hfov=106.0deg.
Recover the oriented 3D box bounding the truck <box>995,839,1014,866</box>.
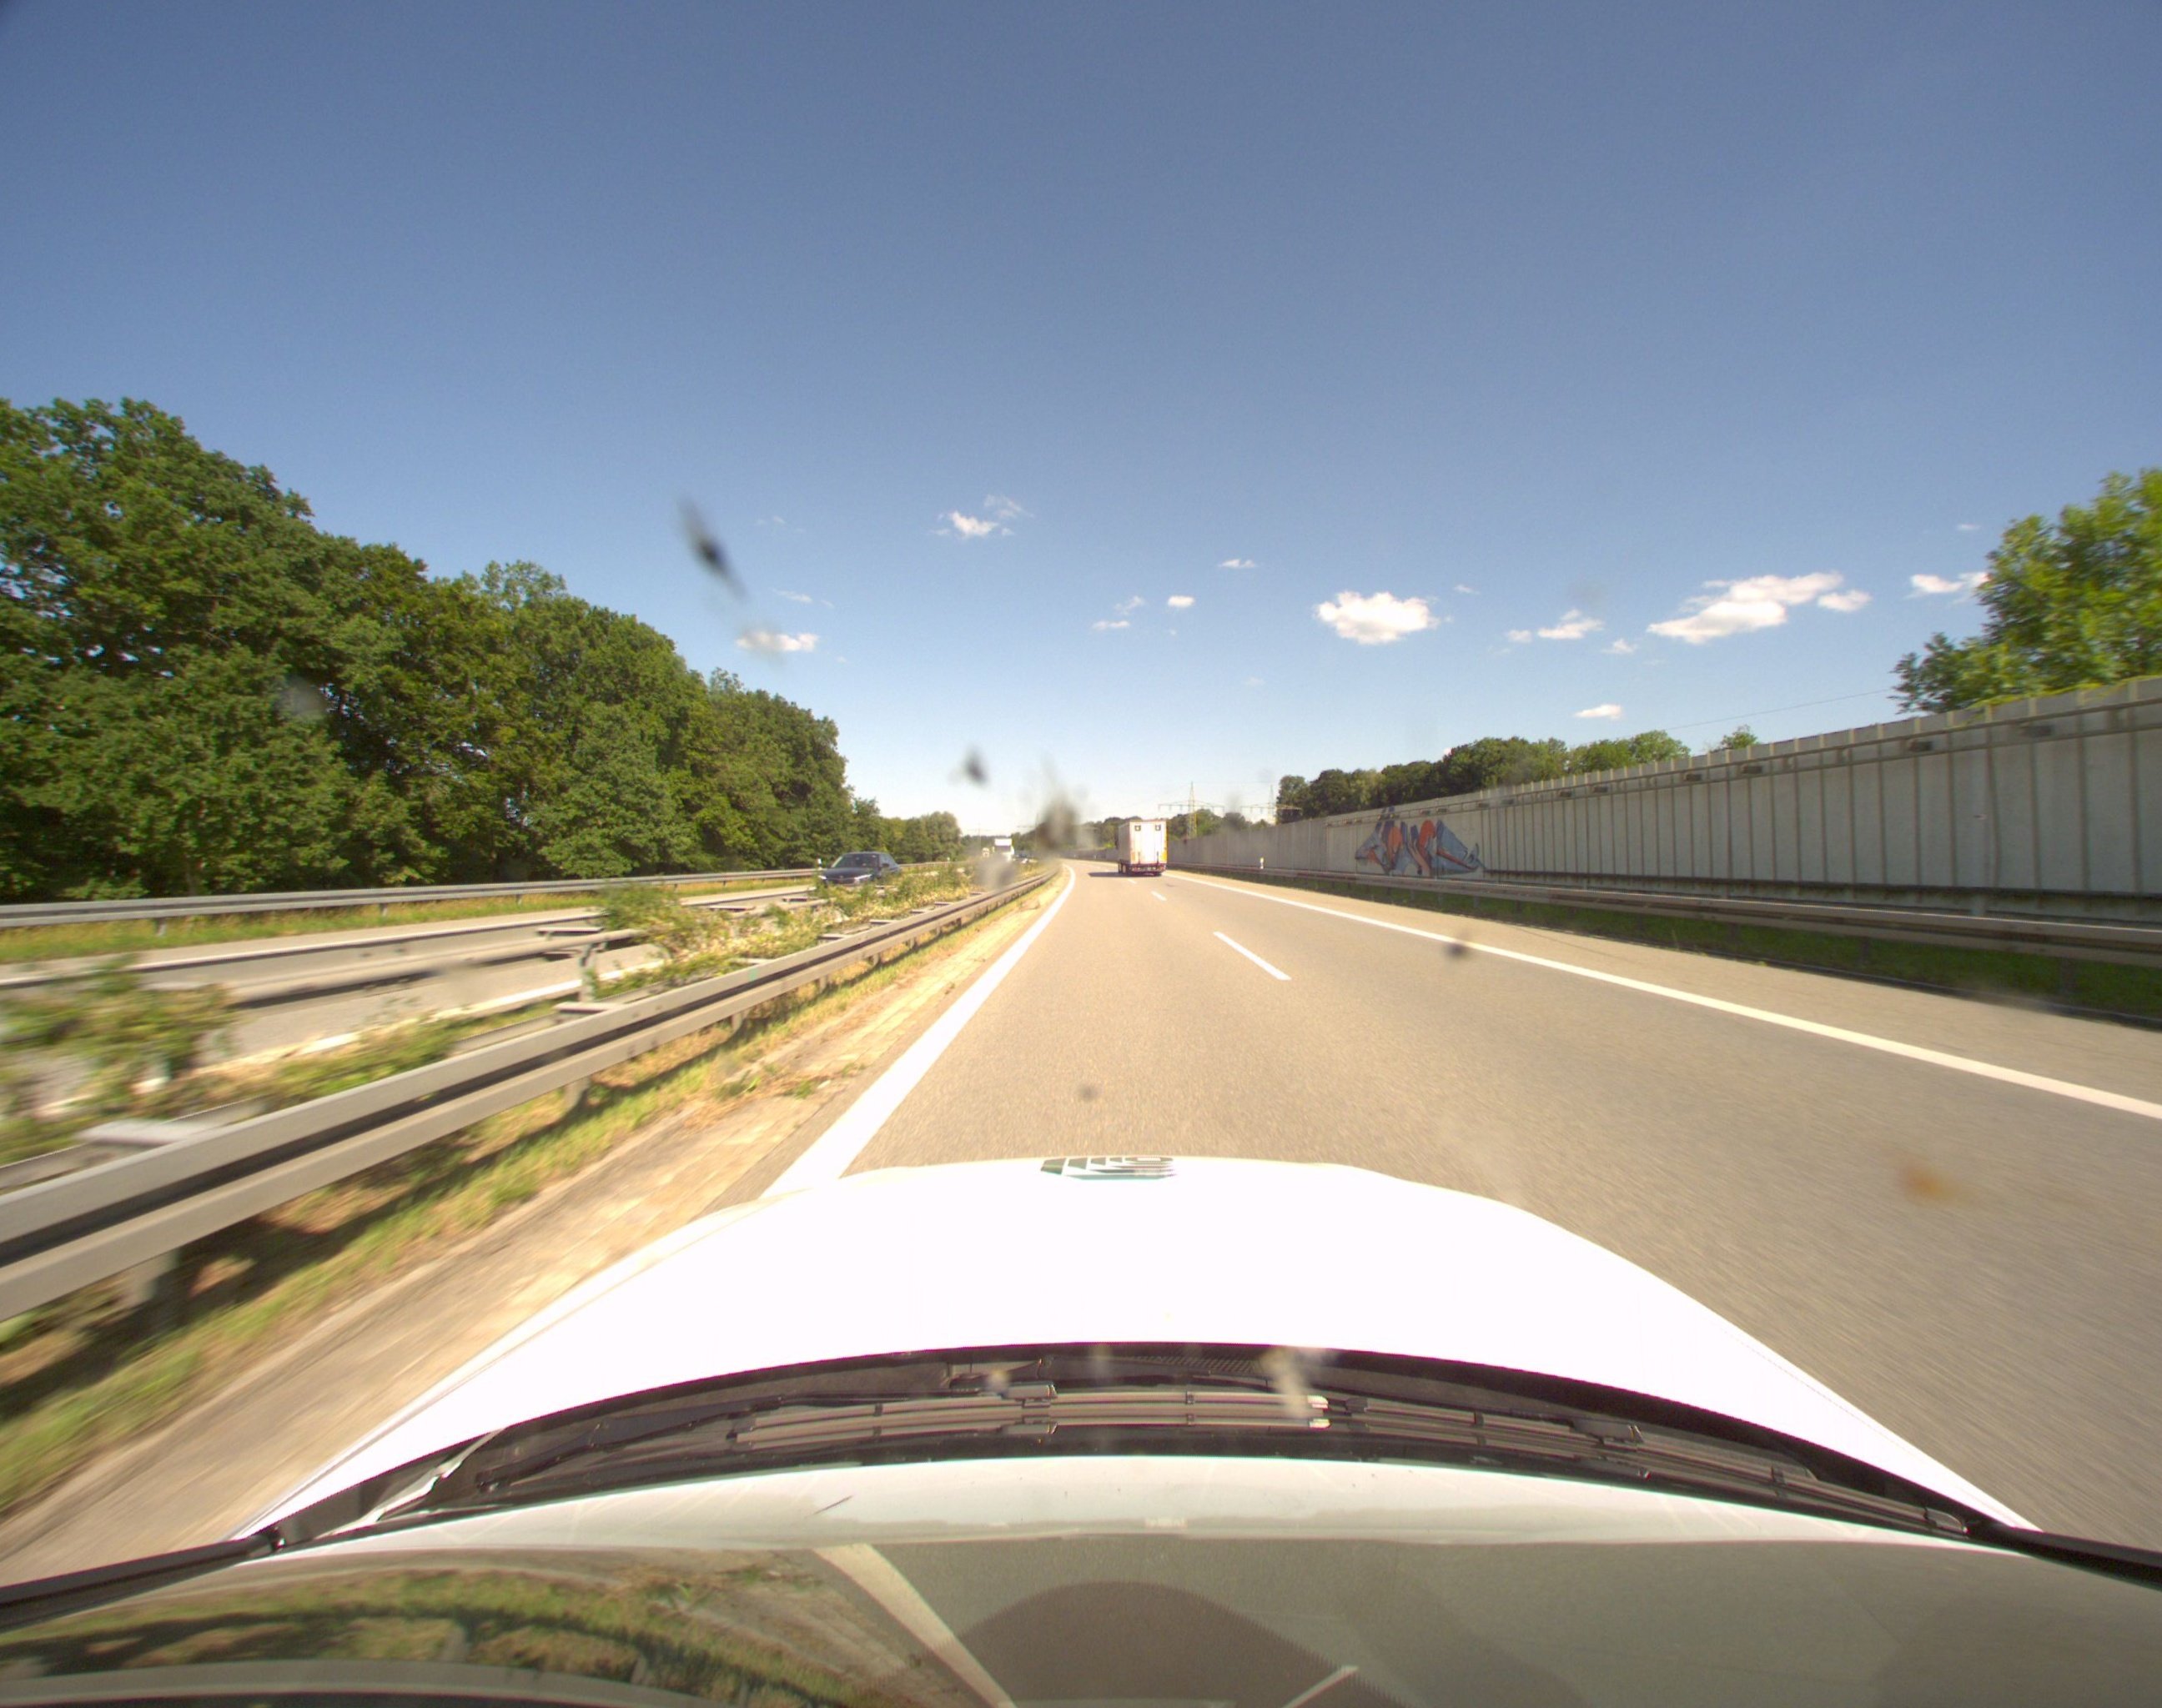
[{"bbox_3d":[-11.496,-0.183,122.974,2.619,3.839,6.801,0,-1,-3],"label":"truck"}]

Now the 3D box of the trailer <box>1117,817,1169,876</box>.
[{"bbox_3d":[4.589,-0.456,62.858,2.876,4.066,12.413,0,-1,-1],"label":"trailer"}]

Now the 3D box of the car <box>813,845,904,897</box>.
[{"bbox_3d":[-6.845,0.495,25.467,1.654,1.450,4.246,-1,0,0],"label":"car"}]

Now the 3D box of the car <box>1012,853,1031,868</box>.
[{"bbox_3d":[-6.865,0.754,94.258,1.836,1.606,4.000,-1,-1,0],"label":"car"}]

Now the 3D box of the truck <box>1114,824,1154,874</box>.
[{"bbox_3d":[4.439,-0.392,69.753,2.823,4.012,6.582,0,-1,-2],"label":"truck"}]
